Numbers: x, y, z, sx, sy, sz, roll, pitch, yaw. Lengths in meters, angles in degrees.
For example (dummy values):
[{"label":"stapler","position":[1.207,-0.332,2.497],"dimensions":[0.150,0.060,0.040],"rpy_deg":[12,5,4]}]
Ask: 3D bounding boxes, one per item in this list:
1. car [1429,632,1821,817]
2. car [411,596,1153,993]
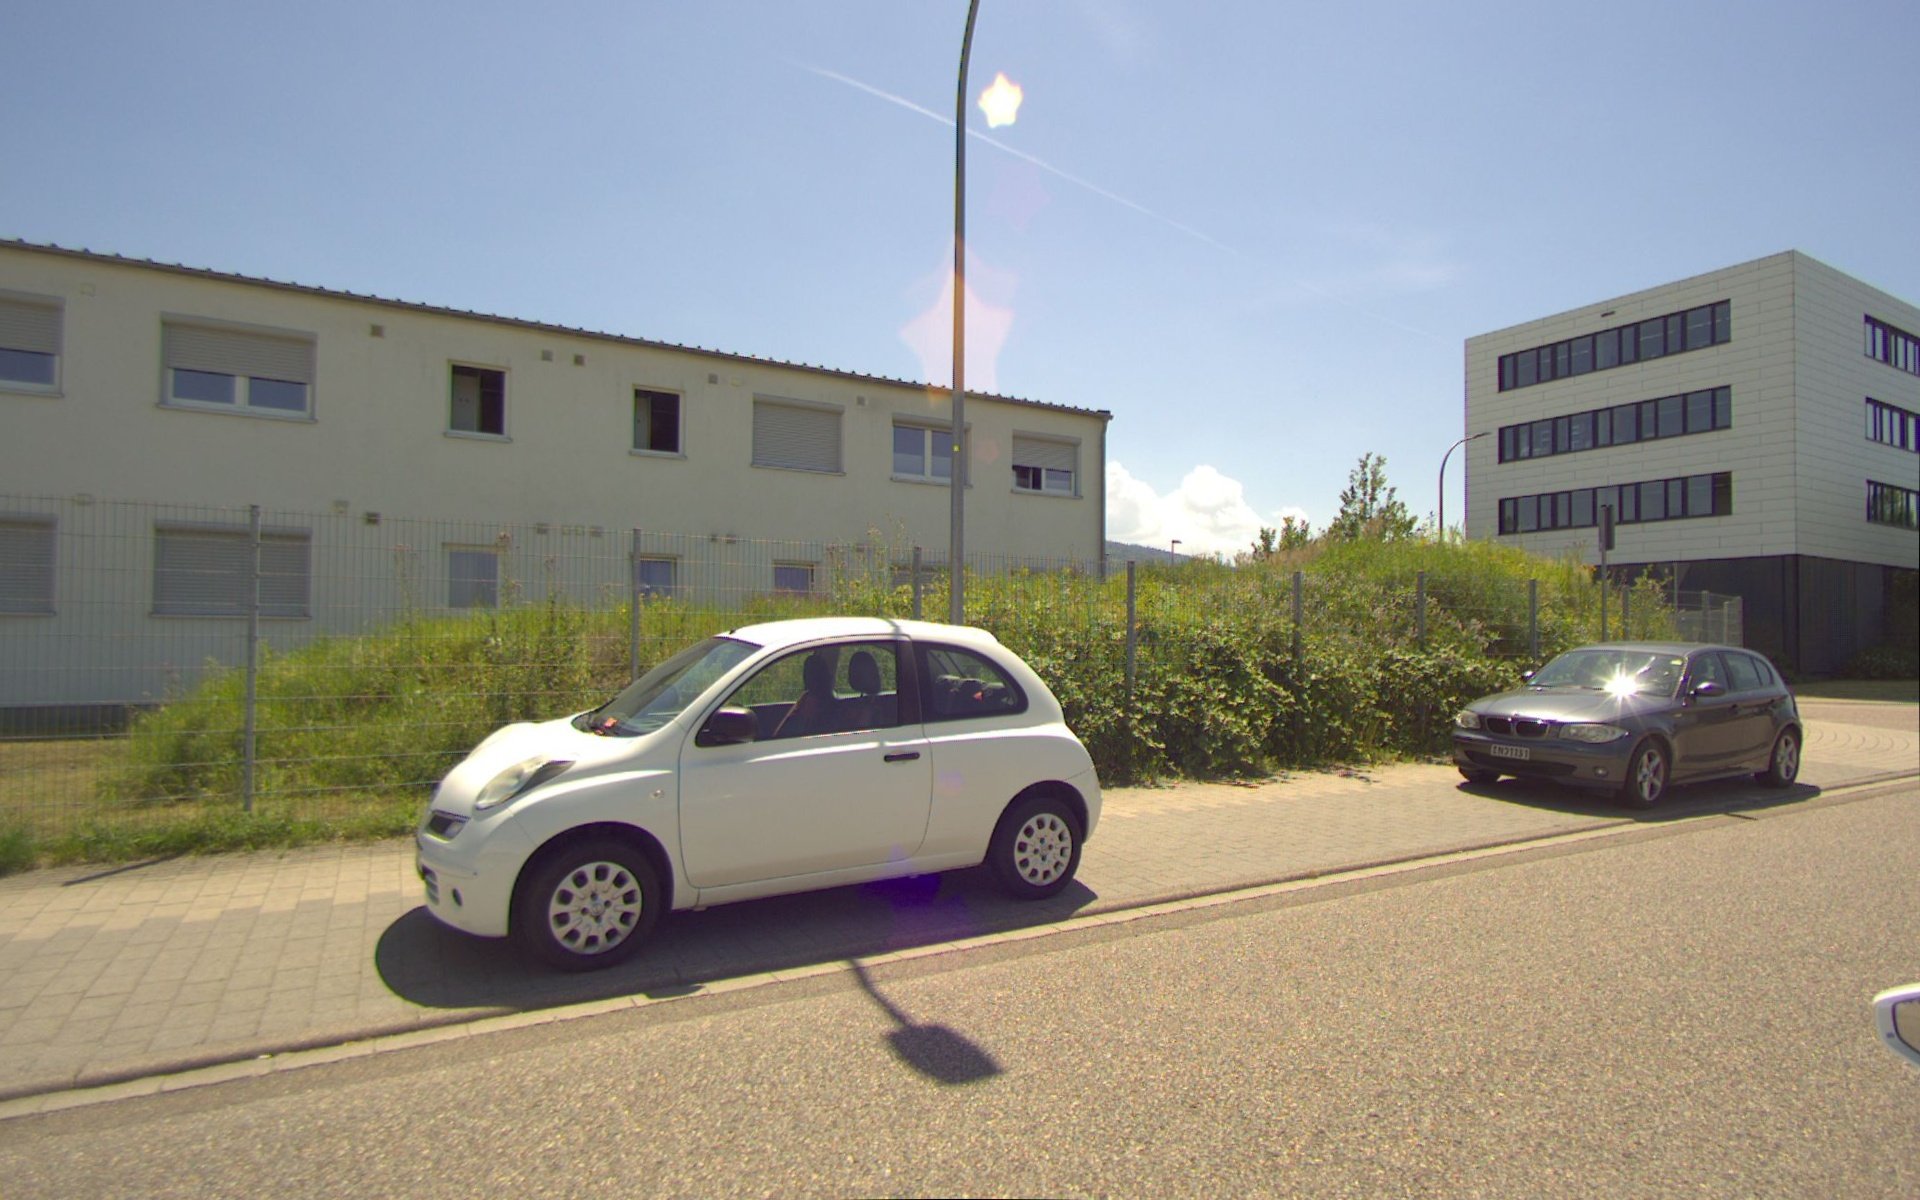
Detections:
[{"label":"car","position":[6.674,1.106,9.997],"dimensions":[4.022,1.470,1.666],"rpy_deg":[2,-1,-31]},{"label":"car","position":[-0.907,0.823,5.604],"dimensions":[3.714,1.550,1.666],"rpy_deg":[2,-1,-31]}]
